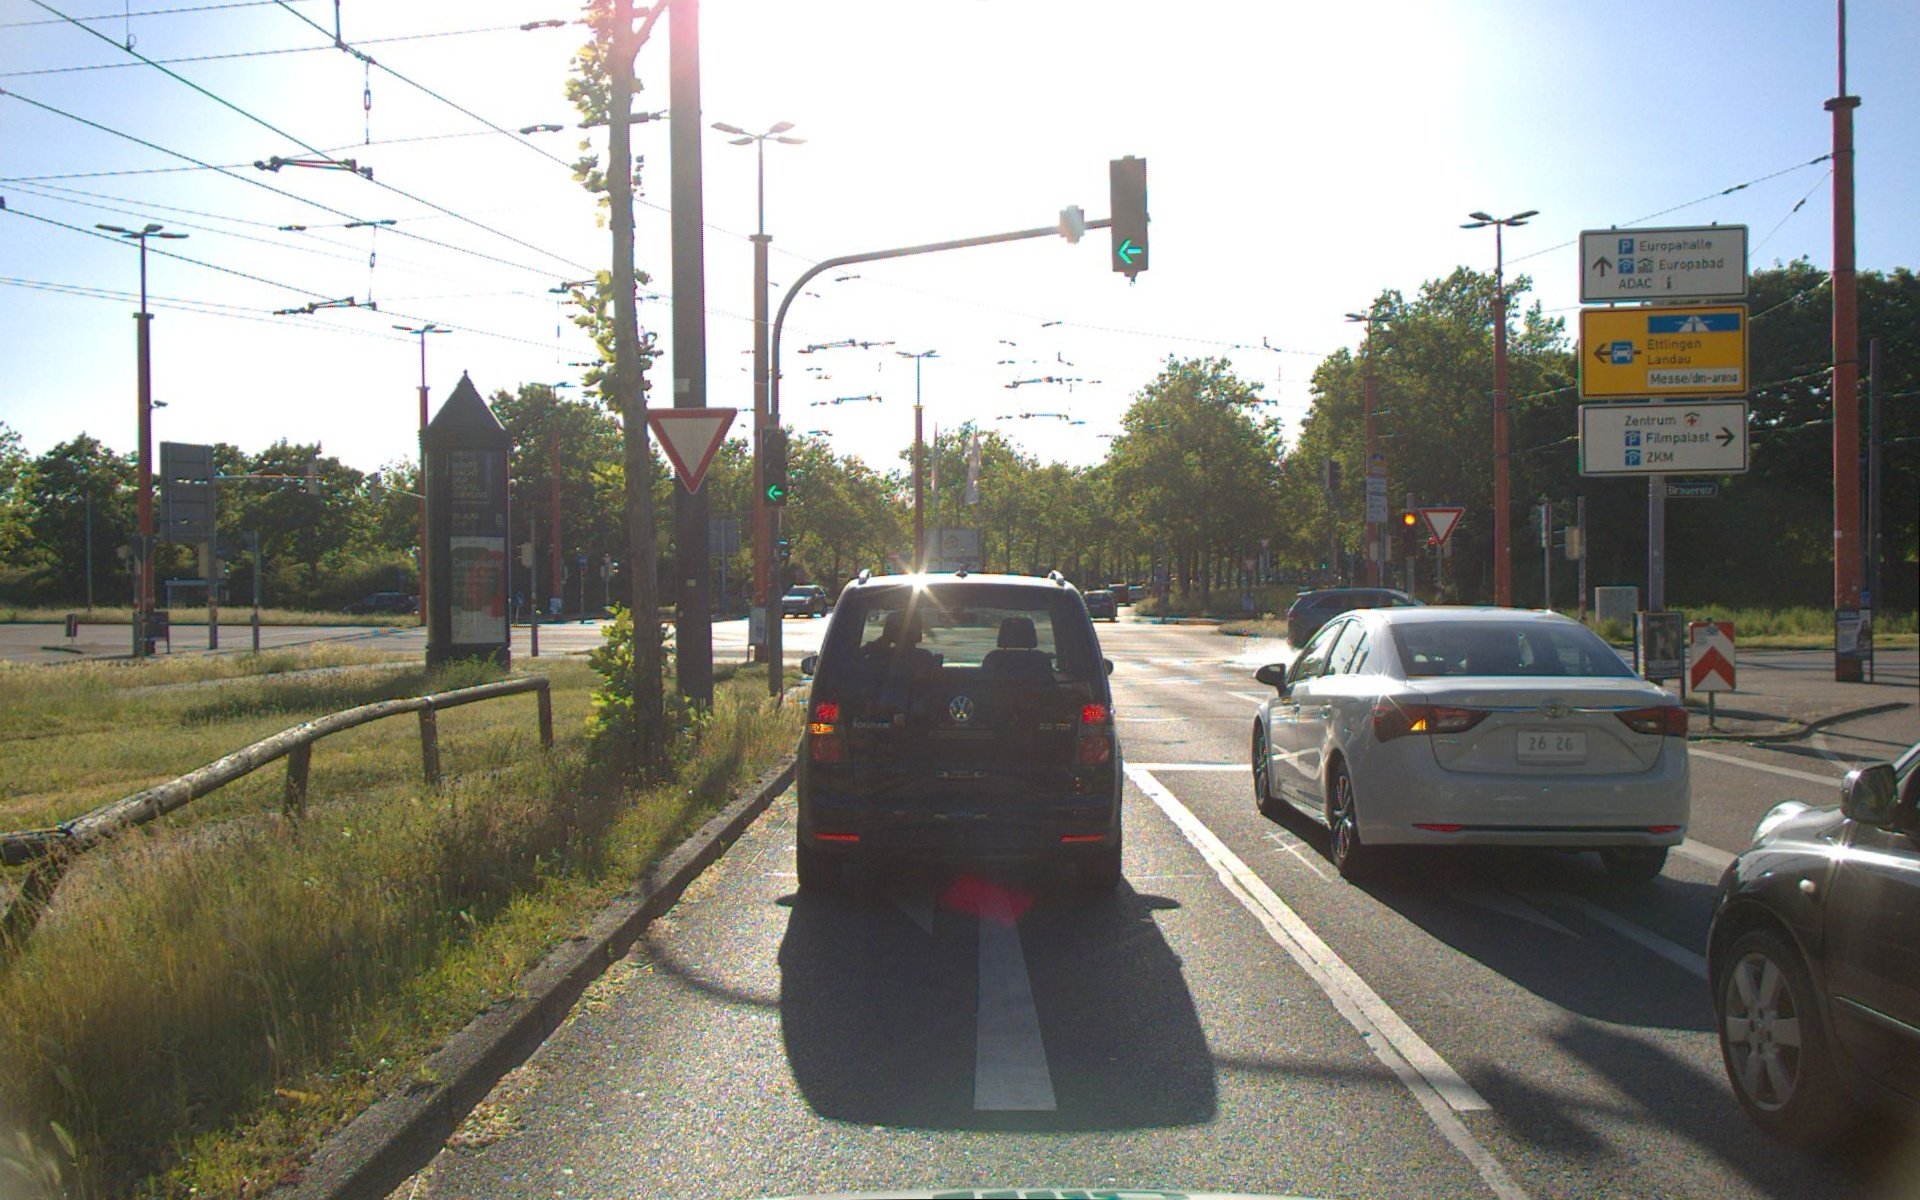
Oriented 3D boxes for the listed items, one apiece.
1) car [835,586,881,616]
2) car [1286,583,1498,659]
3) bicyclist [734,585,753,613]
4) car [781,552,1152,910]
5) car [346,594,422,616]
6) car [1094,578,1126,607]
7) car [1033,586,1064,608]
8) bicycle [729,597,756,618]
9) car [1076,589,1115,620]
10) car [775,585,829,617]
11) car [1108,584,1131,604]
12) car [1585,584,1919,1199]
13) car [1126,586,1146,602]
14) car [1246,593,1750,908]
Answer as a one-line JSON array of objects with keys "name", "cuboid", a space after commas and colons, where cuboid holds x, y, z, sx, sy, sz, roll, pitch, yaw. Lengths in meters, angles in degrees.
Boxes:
[{"name": "car", "cuboid": [-5.613, 0.042, 91.298, 1.730, 1.565, 4.095, 0, 1, 9]}, {"name": "car", "cuboid": [10.257, 0.483, 39.303, 4.587, 1.734, 1.998, 0, 0, 27]}, {"name": "bicyclist", "cuboid": [-12.331, -0.073, 94.138, 0.743, 1.585, 0.982, -1, 1, 17]}, {"name": "car", "cuboid": [0.016, 0.587, 10.224, 1.731, 1.672, 4.923, 0, 1, 0]}, {"name": "car", "cuboid": [-33.381, 0.276, 95.777, 3.907, 1.288, 1.943, 0, 0, 24]}, {"name": "car", "cuboid": [8.928, -0.446, 98.761, 1.833, 1.655, 4.002, 1, 0, 5]}, {"name": "car", "cuboid": [5.948, -0.206, 110.695, 1.752, 1.412, 4.053, 1, 1, 7]}, {"name": "bicycle", "cuboid": [-12.342, 0.413, 94.065, 0.747, 1.110, 2.017, -1, 1, 16]}, {"name": "car", "cuboid": [6.530, 0.196, 80.138, 1.752, 1.412, 4.051, 1, 1, 3]}, {"name": "car", "cuboid": [-8.888, 0.025, 93.362, 1.861, 1.756, 4.658, 0, 1, 10]}, {"name": "car", "cuboid": [12.480, -0.464, 129.275, 1.752, 1.528, 4.052, 1, 1, 5]}, {"name": "car", "cuboid": [3.204, 0.720, 3.876, 1.699, 1.508, 4.622, 0, 1, -1]}, {"name": "car", "cuboid": [15.801, -0.562, 148.901, 1.752, 1.412, 4.052, 1, 1, 6]}, {"name": "car", "cuboid": [2.971, 0.717, 10.164, 1.731, 1.489, 4.367, 0, 1, 1]}]
